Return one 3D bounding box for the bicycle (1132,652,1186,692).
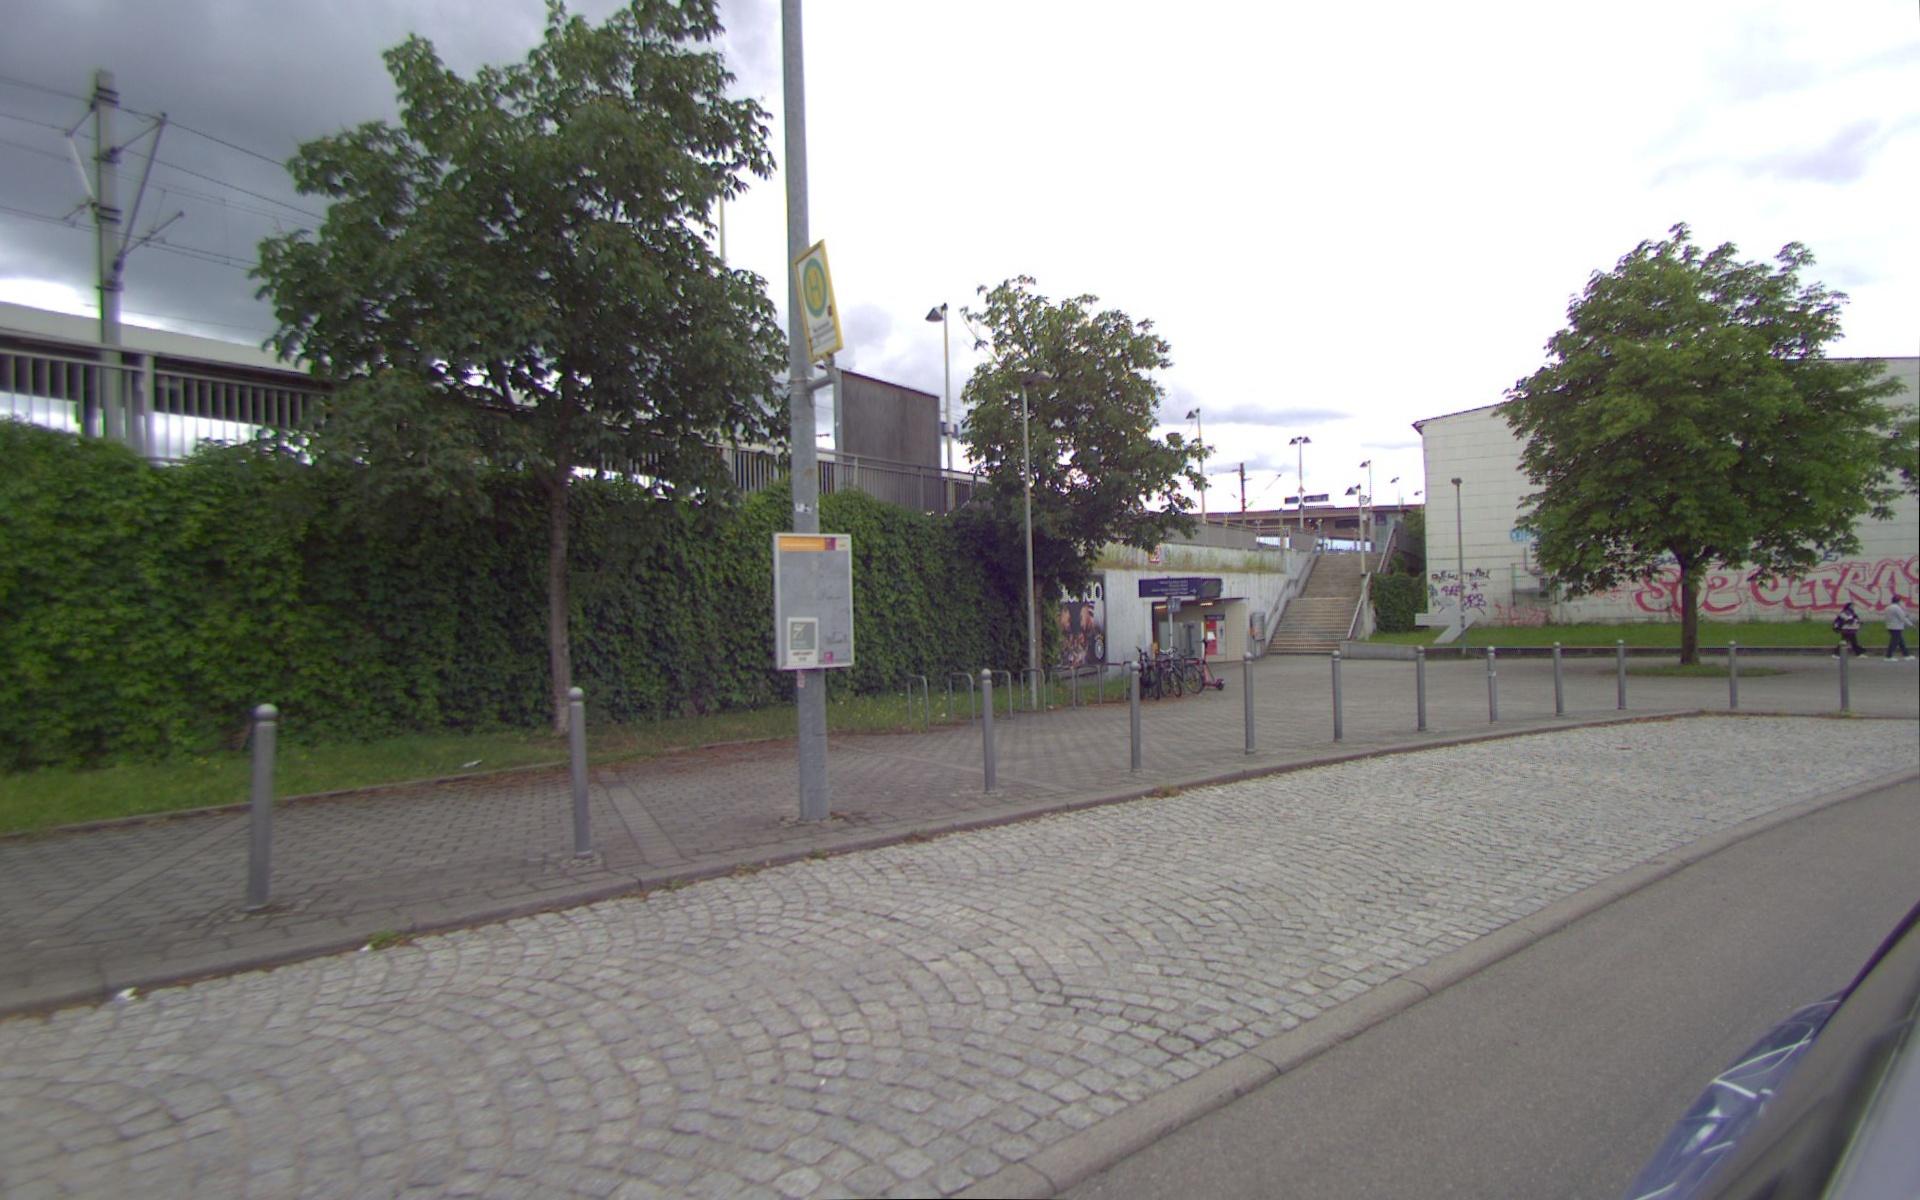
[{"bbox_3d":[4.506,1.618,22.969,0.454,0.865,1.583,0,-3,-19],"label":"bicycle"}]

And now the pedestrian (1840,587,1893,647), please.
[{"bbox_3d":[24.968,0.458,27.885,0.791,1.603,0.798,-2,0,17],"label":"pedestrian"}]

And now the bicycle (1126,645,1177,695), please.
[{"bbox_3d":[4.125,1.490,21.853,0.680,1.002,1.493,-1,-2,-5],"label":"bicycle"}]

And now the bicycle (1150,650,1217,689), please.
[{"bbox_3d":[5.269,1.653,23.986,0.500,0.876,1.975,0,-4,-22],"label":"bicycle"}]

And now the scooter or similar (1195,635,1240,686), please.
[{"bbox_3d":[6.375,1.497,25.085,0.458,1.222,1.193,-1,-2,-19],"label":"scooter or similar"}]

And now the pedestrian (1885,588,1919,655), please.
[{"bbox_3d":[25.177,0.550,26.761,0.739,1.724,0.812,-2,0,17],"label":"pedestrian"}]
